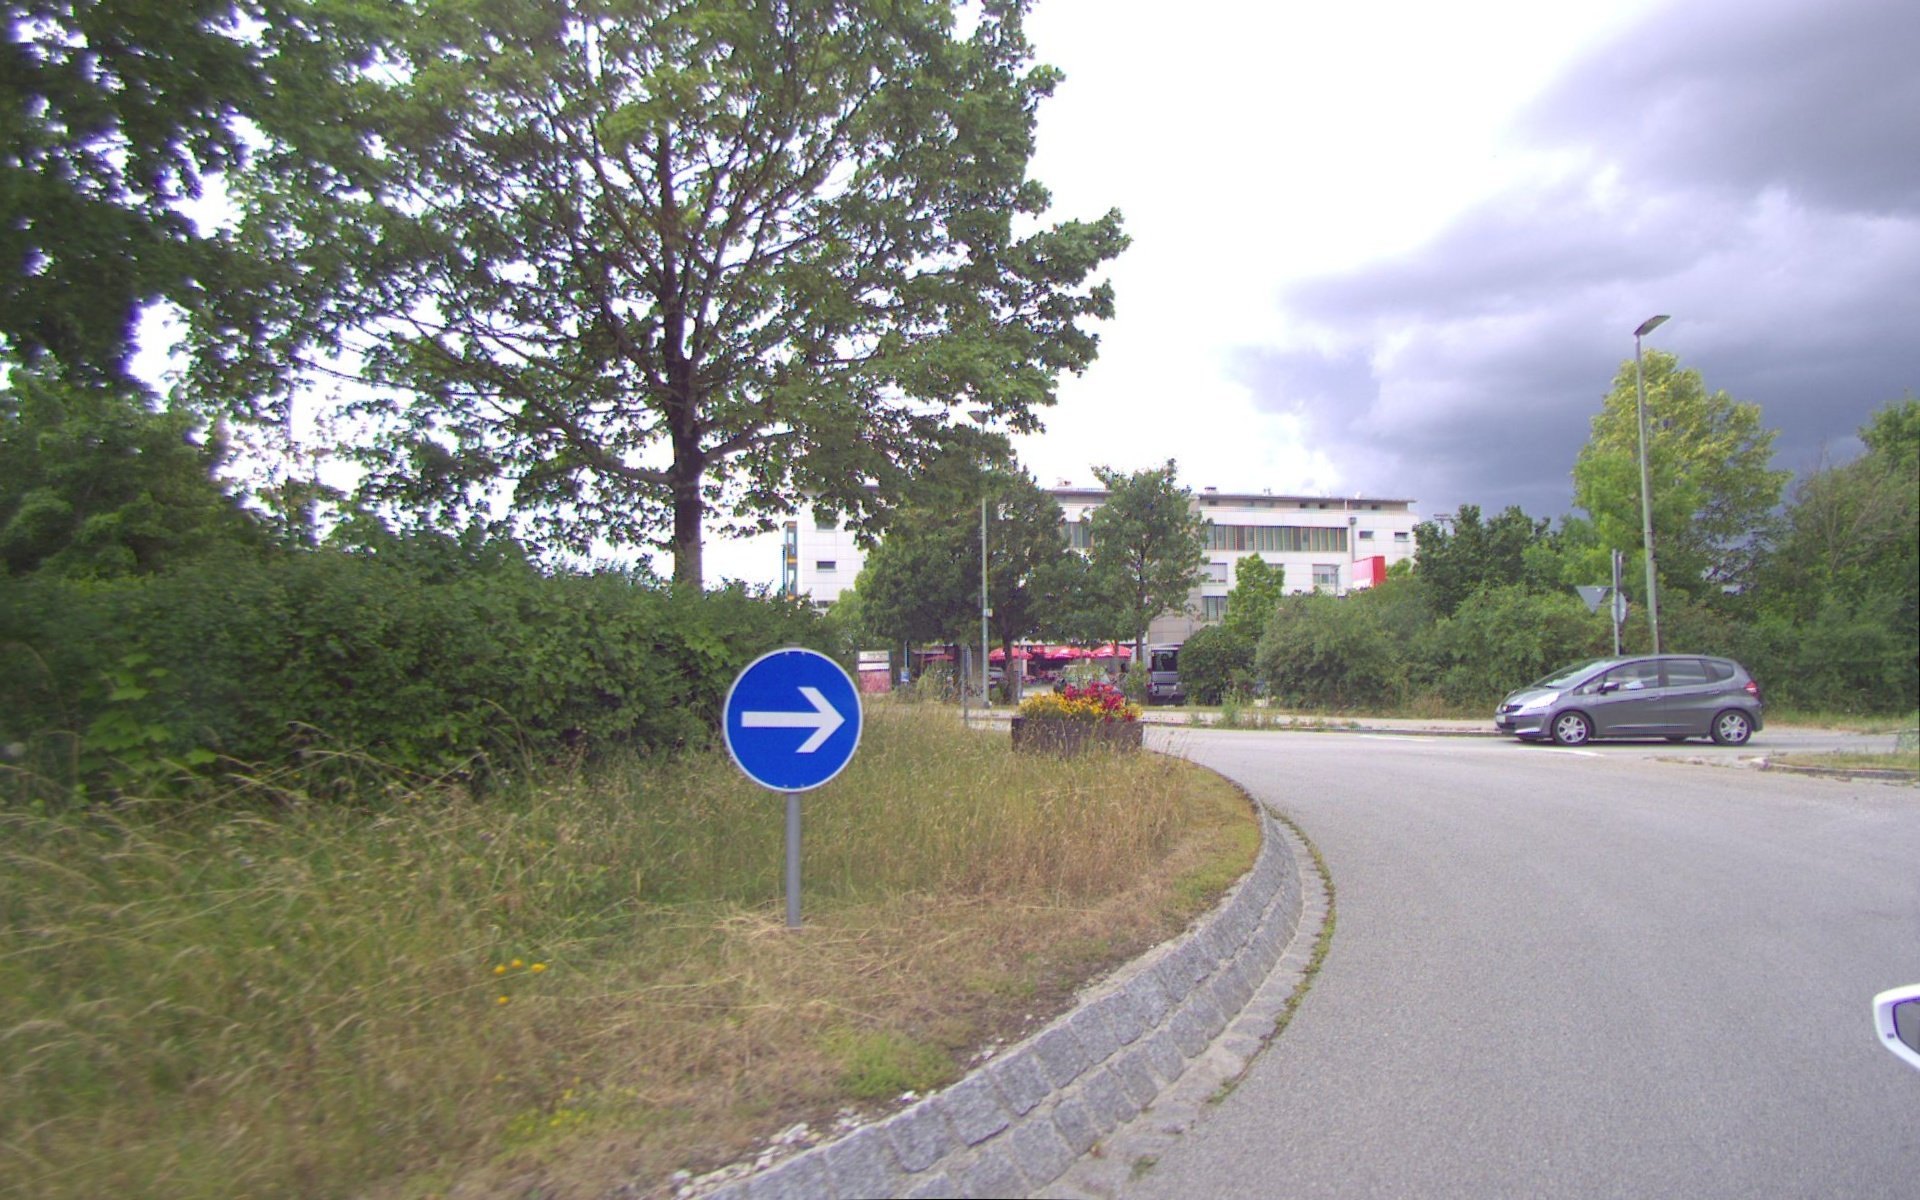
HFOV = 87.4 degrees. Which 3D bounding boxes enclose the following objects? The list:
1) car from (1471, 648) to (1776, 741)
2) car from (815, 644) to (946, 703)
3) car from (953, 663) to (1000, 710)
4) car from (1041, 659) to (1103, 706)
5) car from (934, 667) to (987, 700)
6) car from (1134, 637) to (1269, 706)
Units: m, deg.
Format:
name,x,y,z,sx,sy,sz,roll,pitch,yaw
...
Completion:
name,x,y,z,sx,sy,sz,roll,pitch,yaw
car,11.085,1.594,17.022,3.919,1.441,1.689,-1,-4,5
car,-2.699,2.468,33.842,3.932,1.856,2.126,-3,-4,32
car,0.683,3.760,44.164,1.751,1.706,3.728,-4,-1,-3
car,3.340,2.426,30.032,1.707,1.288,4.004,-1,-3,6
car,-0.035,4.083,48.870,1.913,1.415,4.511,-4,-5,-8
car,7.507,2.224,31.192,3.920,2.040,2.001,-2,-3,16
